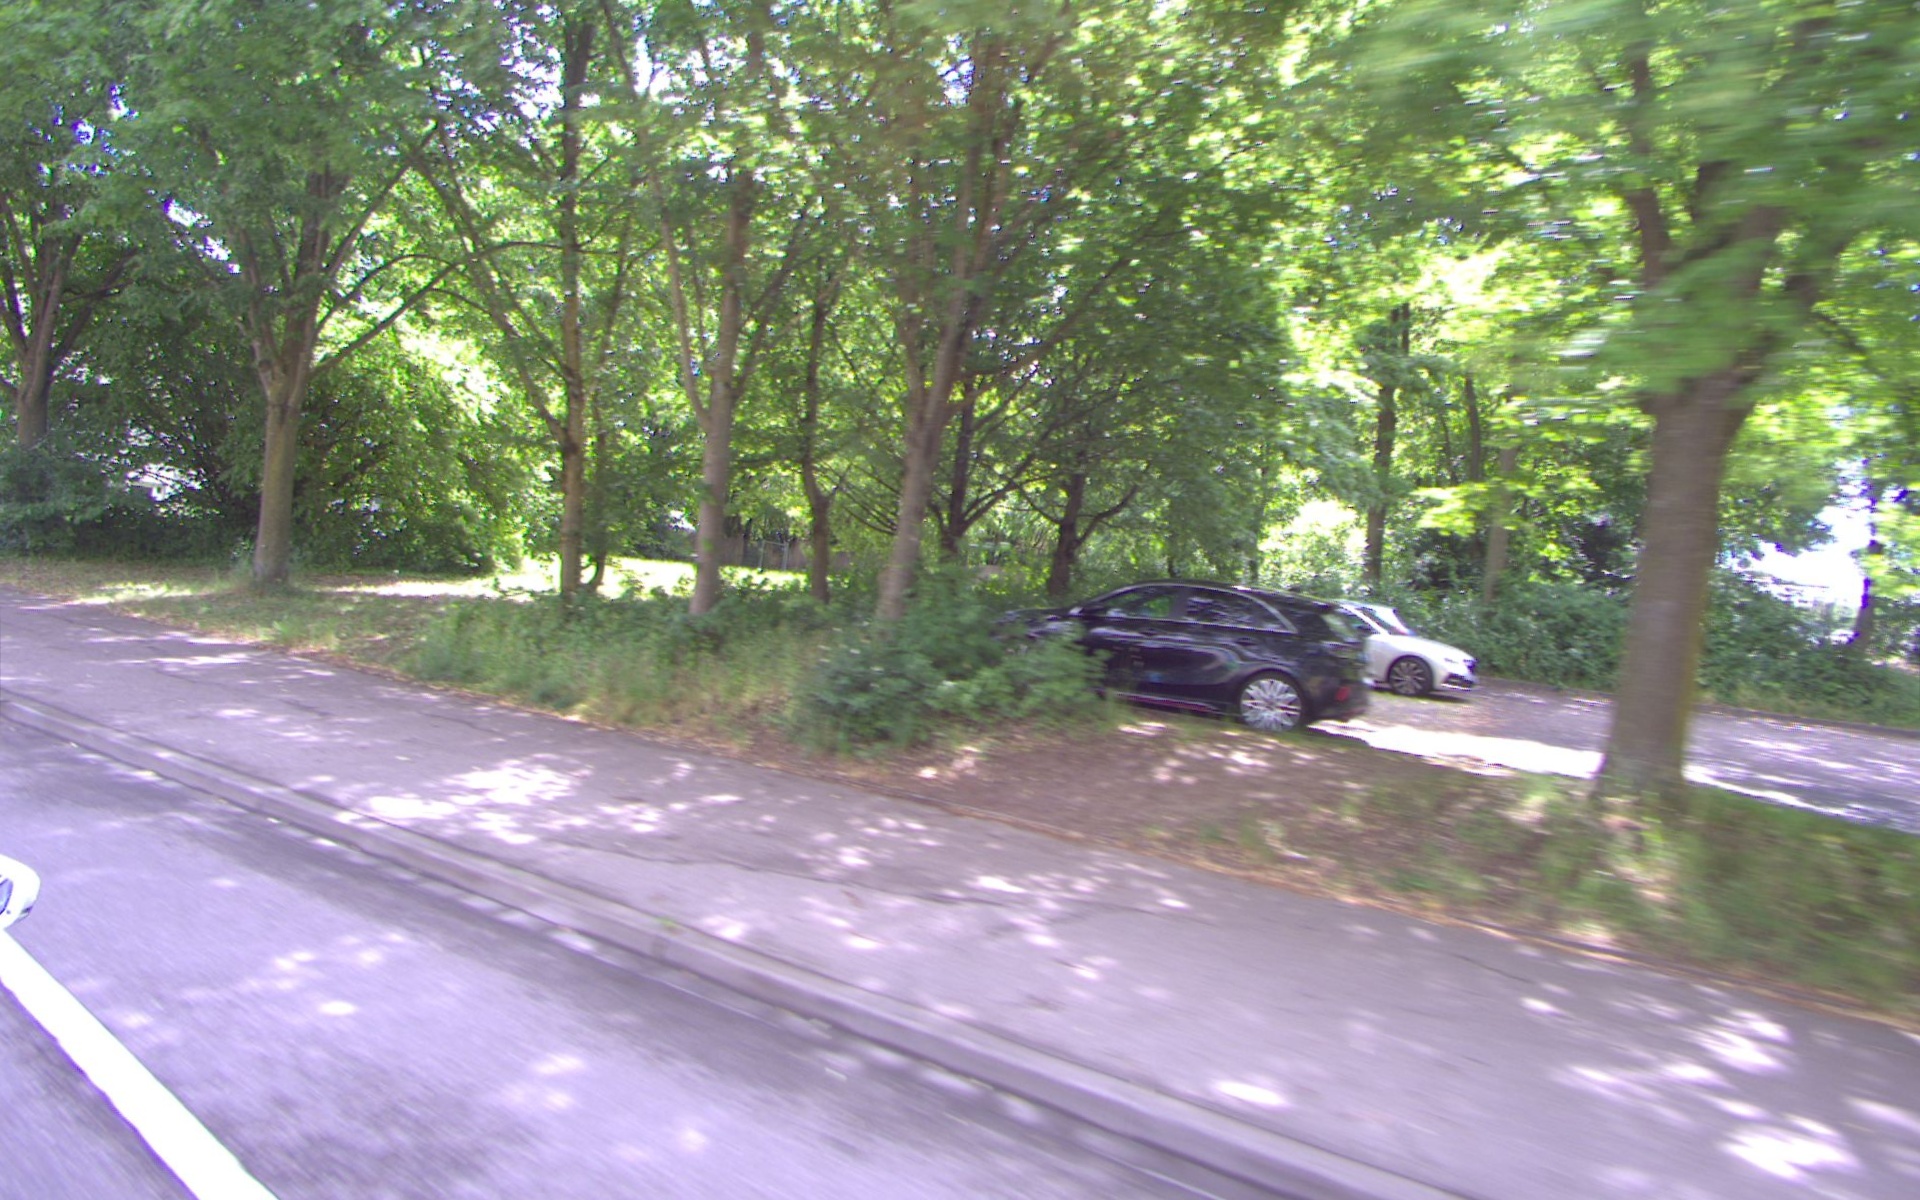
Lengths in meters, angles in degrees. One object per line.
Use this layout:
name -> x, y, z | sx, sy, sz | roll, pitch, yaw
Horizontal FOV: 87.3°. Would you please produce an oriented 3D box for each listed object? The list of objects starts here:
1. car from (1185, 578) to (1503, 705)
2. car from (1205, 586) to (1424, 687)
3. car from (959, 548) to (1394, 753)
car -> 6.639, 0.634, 17.557 | 4.798, 1.528, 1.994 | 7, 3, 31
car -> 7.183, 0.683, 20.465 | 3.830, 1.528, 1.651 | 7, 3, 31
car -> 2.248, 0.422, 10.718 | 4.088, 1.528, 1.716 | 7, 3, 29
